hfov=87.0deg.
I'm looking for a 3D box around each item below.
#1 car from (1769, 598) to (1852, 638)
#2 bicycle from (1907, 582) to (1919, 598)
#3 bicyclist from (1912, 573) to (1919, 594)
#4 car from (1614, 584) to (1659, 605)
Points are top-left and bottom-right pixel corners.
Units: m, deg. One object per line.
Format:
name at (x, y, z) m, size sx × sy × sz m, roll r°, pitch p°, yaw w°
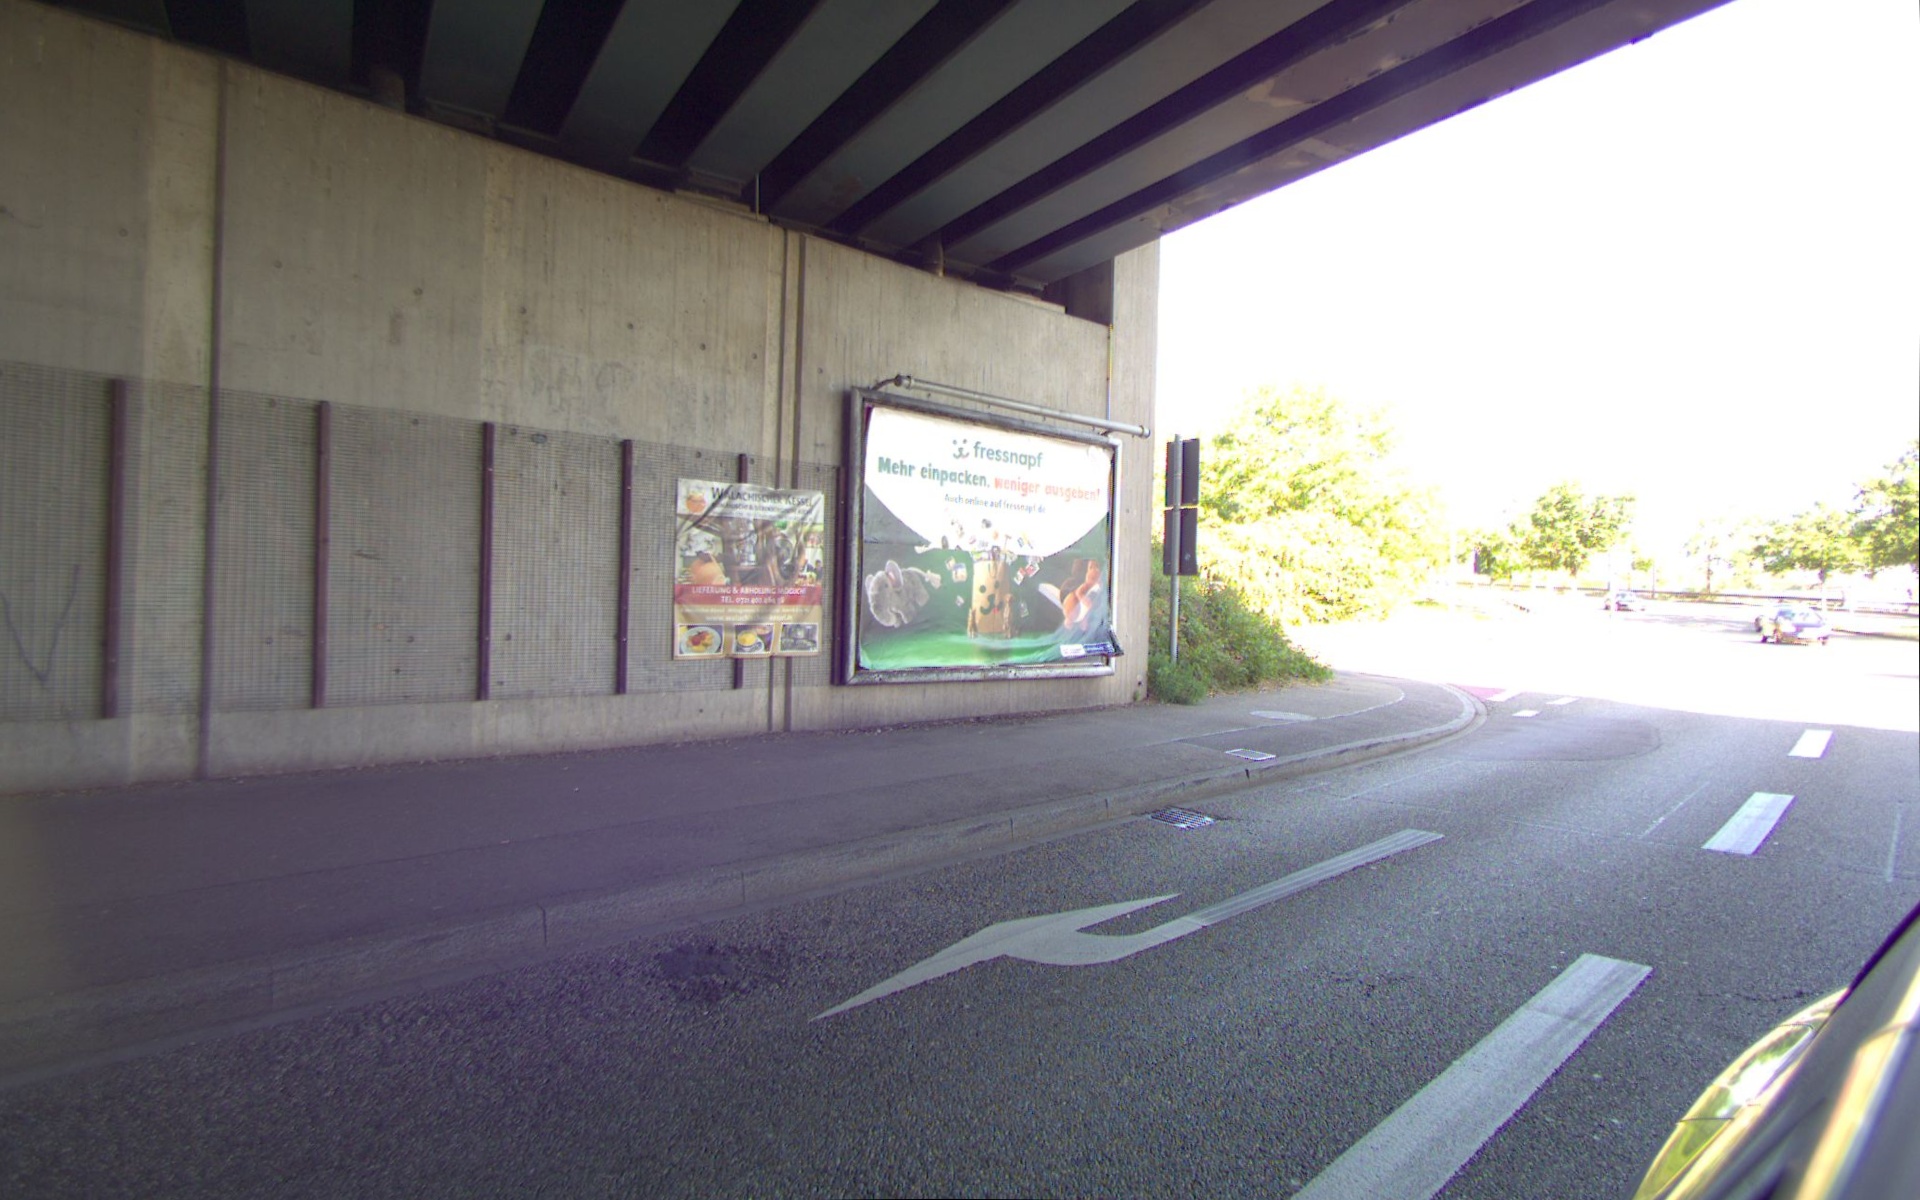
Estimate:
car at (33.149, 0.704, 39.557) m, size 1.724 × 1.438 × 4.271 m, roll 1°, pitch -1°, yaw 30°
bicycle at (64.816, -0.689, 68.315) m, size 0.585 × 1.036 × 1.741 m, roll 0°, pitch 0°, yaw 16°
bicyclist at (64.754, -1.098, 68.171) m, size 0.585 × 1.445 × 0.705 m, roll 0°, pitch 0°, yaw 15°
car at (50.545, -0.423, 75.665) m, size 1.834 × 1.498 × 4.202 m, roll 0°, pitch 1°, yaw 20°
